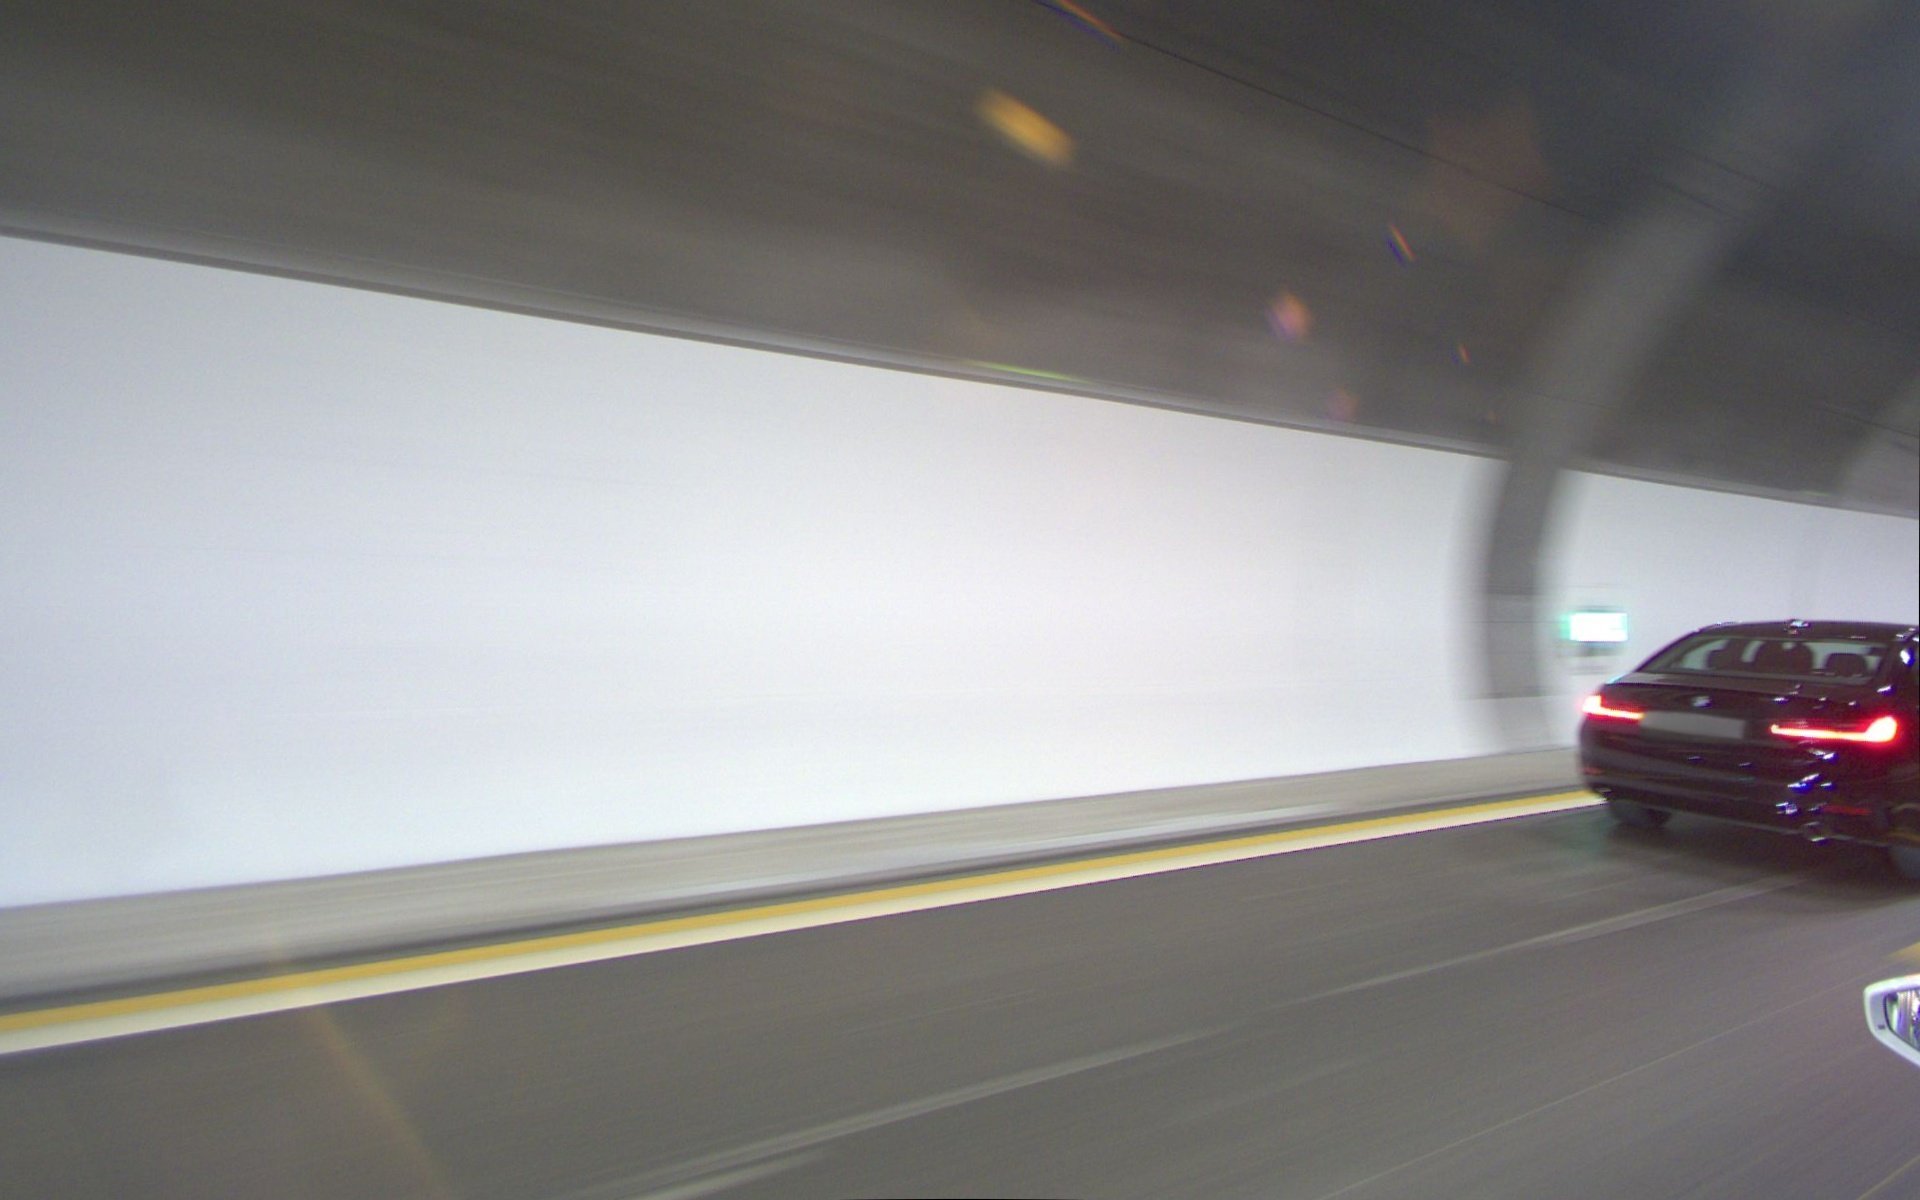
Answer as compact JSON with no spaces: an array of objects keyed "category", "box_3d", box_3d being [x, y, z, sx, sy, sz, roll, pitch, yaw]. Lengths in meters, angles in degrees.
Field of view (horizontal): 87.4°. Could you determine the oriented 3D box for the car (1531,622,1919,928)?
[{"category":"car","box_3d":[6.223,0.917,6.902,4.824,1.457,1.770,1,0,-29]}]
